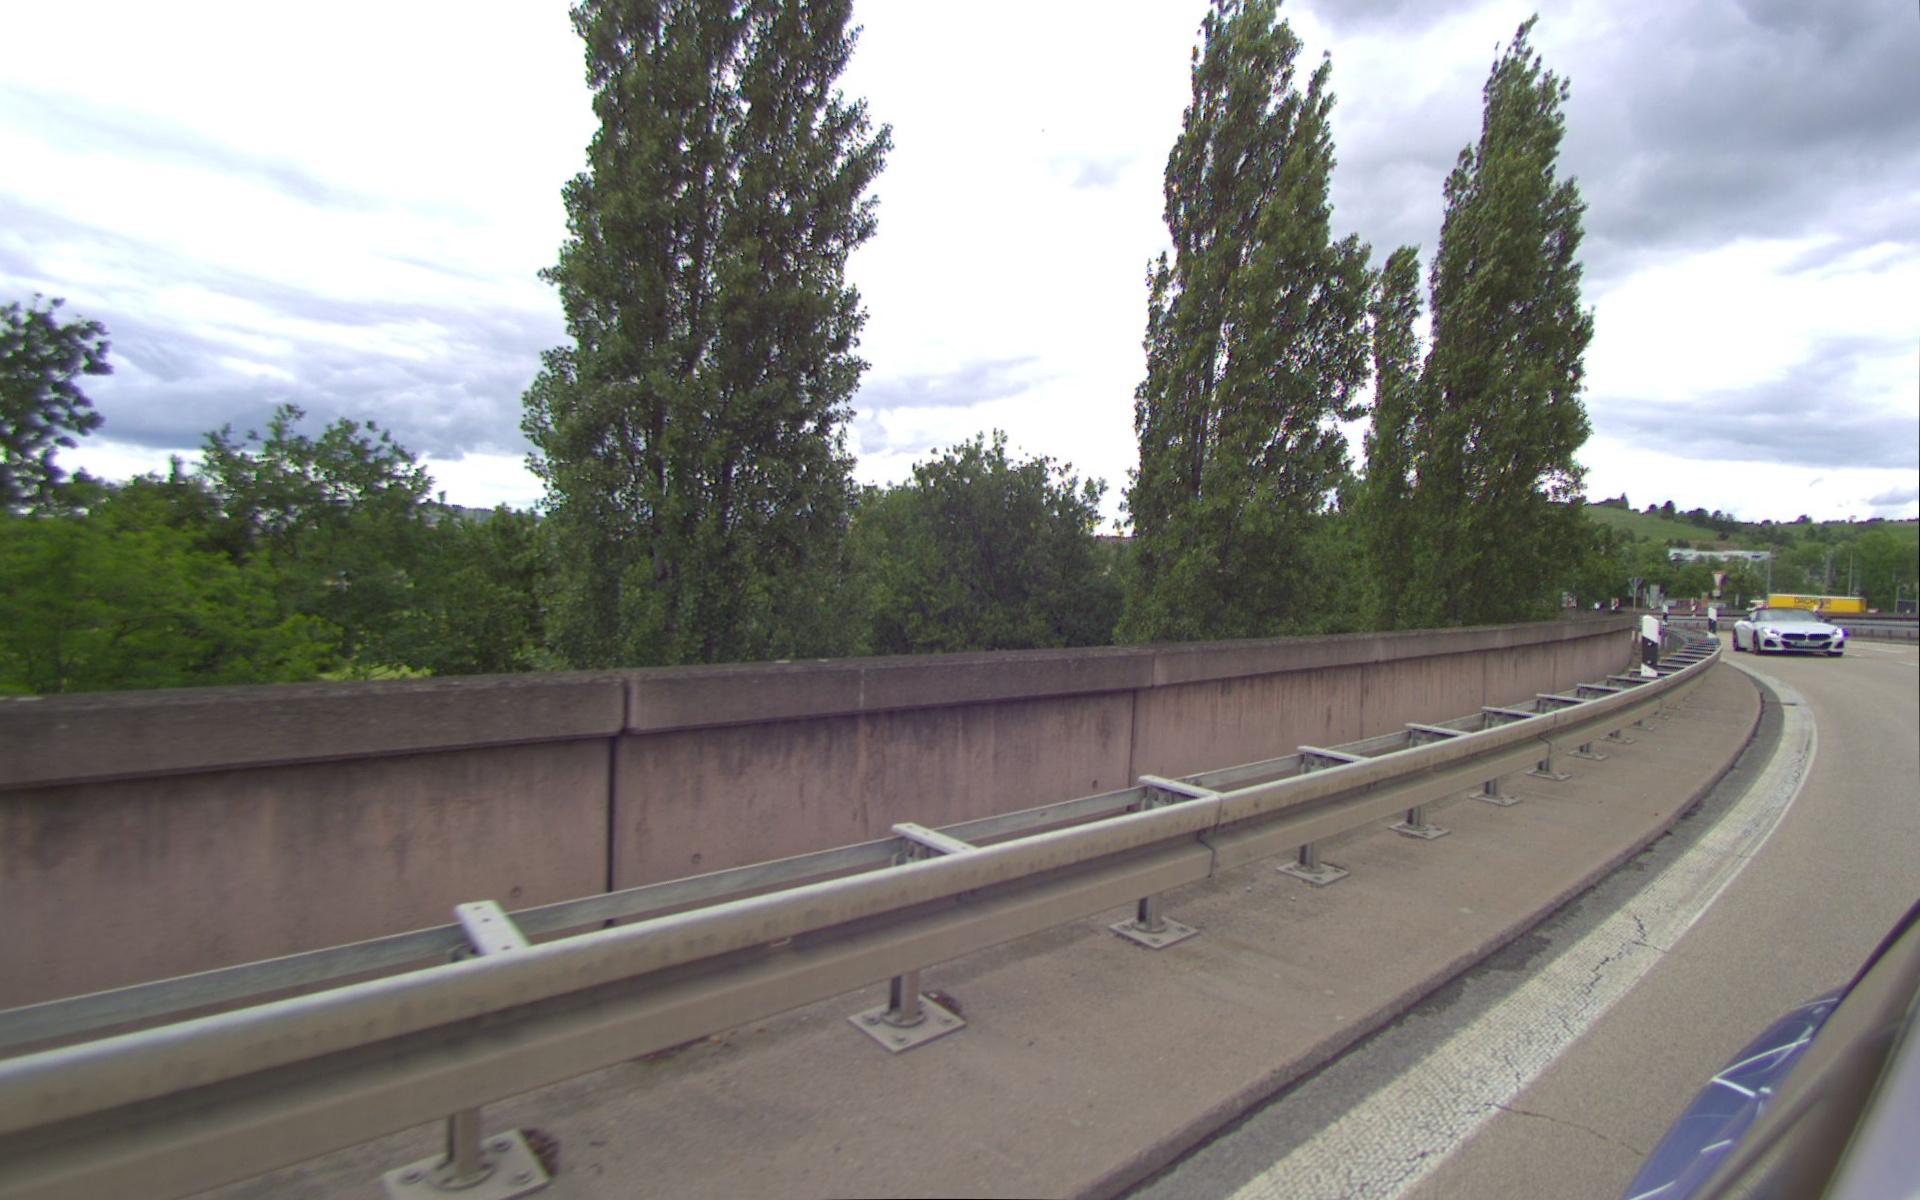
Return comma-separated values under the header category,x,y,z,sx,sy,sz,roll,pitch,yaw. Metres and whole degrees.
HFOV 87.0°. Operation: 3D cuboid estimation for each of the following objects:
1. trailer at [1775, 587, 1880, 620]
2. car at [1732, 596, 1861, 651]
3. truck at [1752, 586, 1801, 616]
category,x,y,z,sx,sy,sz,roll,pitch,yaw
trailer,129.079,0.444,150.827,2.581,4.255,11.679,0,3,-27
car,23.380,0.594,28.478,1.847,1.361,4.777,0,1,28
truck,126.257,0.109,156.507,2.581,4.255,5.112,0,3,-27
